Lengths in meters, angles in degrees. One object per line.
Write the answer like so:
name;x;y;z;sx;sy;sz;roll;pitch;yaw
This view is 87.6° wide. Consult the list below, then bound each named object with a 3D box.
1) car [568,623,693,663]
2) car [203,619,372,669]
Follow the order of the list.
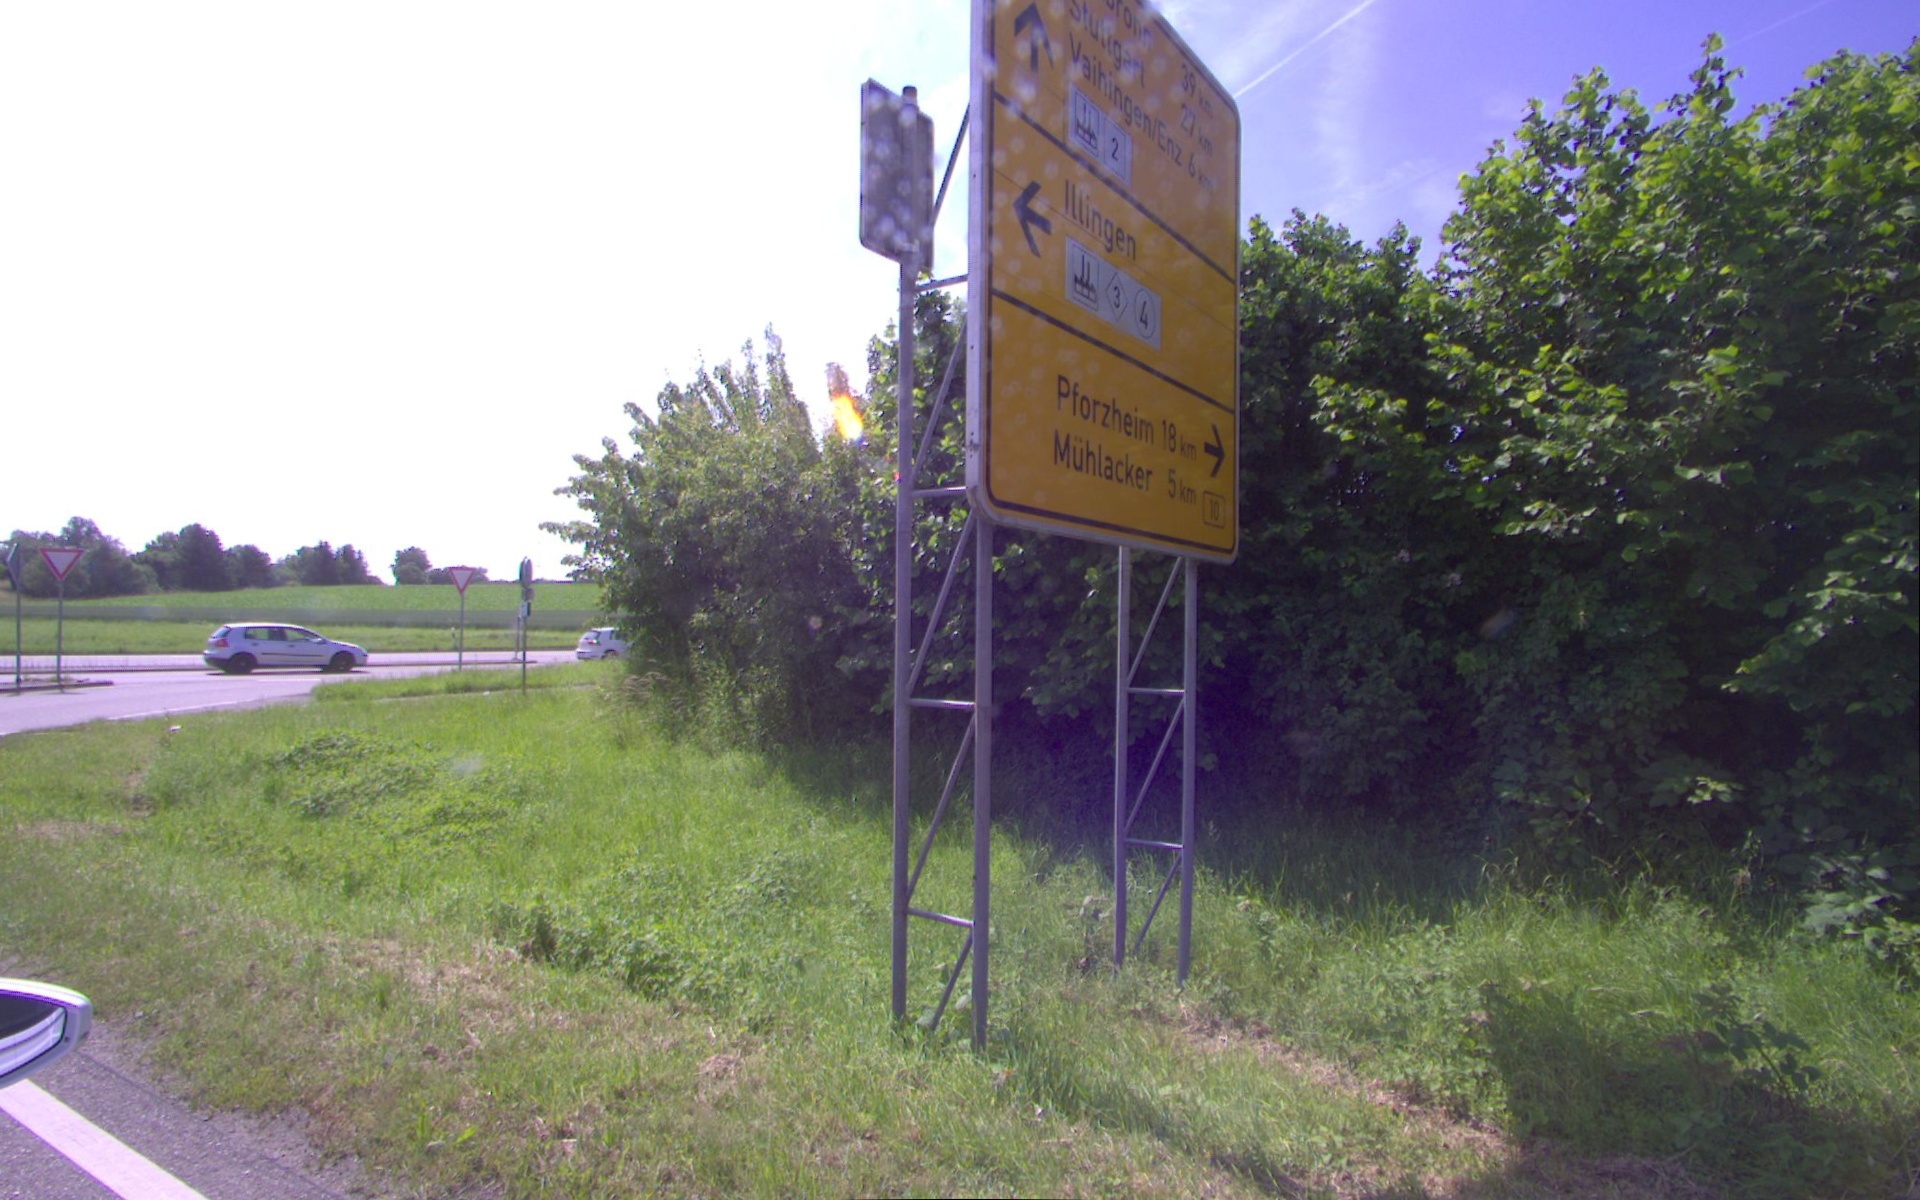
car;-12.608;1.642;38.505;4.219;1.479;1.793;2;-3;-44
car;-20.493;1.326;30.620;1.776;1.435;4.014;-1;-2;43
